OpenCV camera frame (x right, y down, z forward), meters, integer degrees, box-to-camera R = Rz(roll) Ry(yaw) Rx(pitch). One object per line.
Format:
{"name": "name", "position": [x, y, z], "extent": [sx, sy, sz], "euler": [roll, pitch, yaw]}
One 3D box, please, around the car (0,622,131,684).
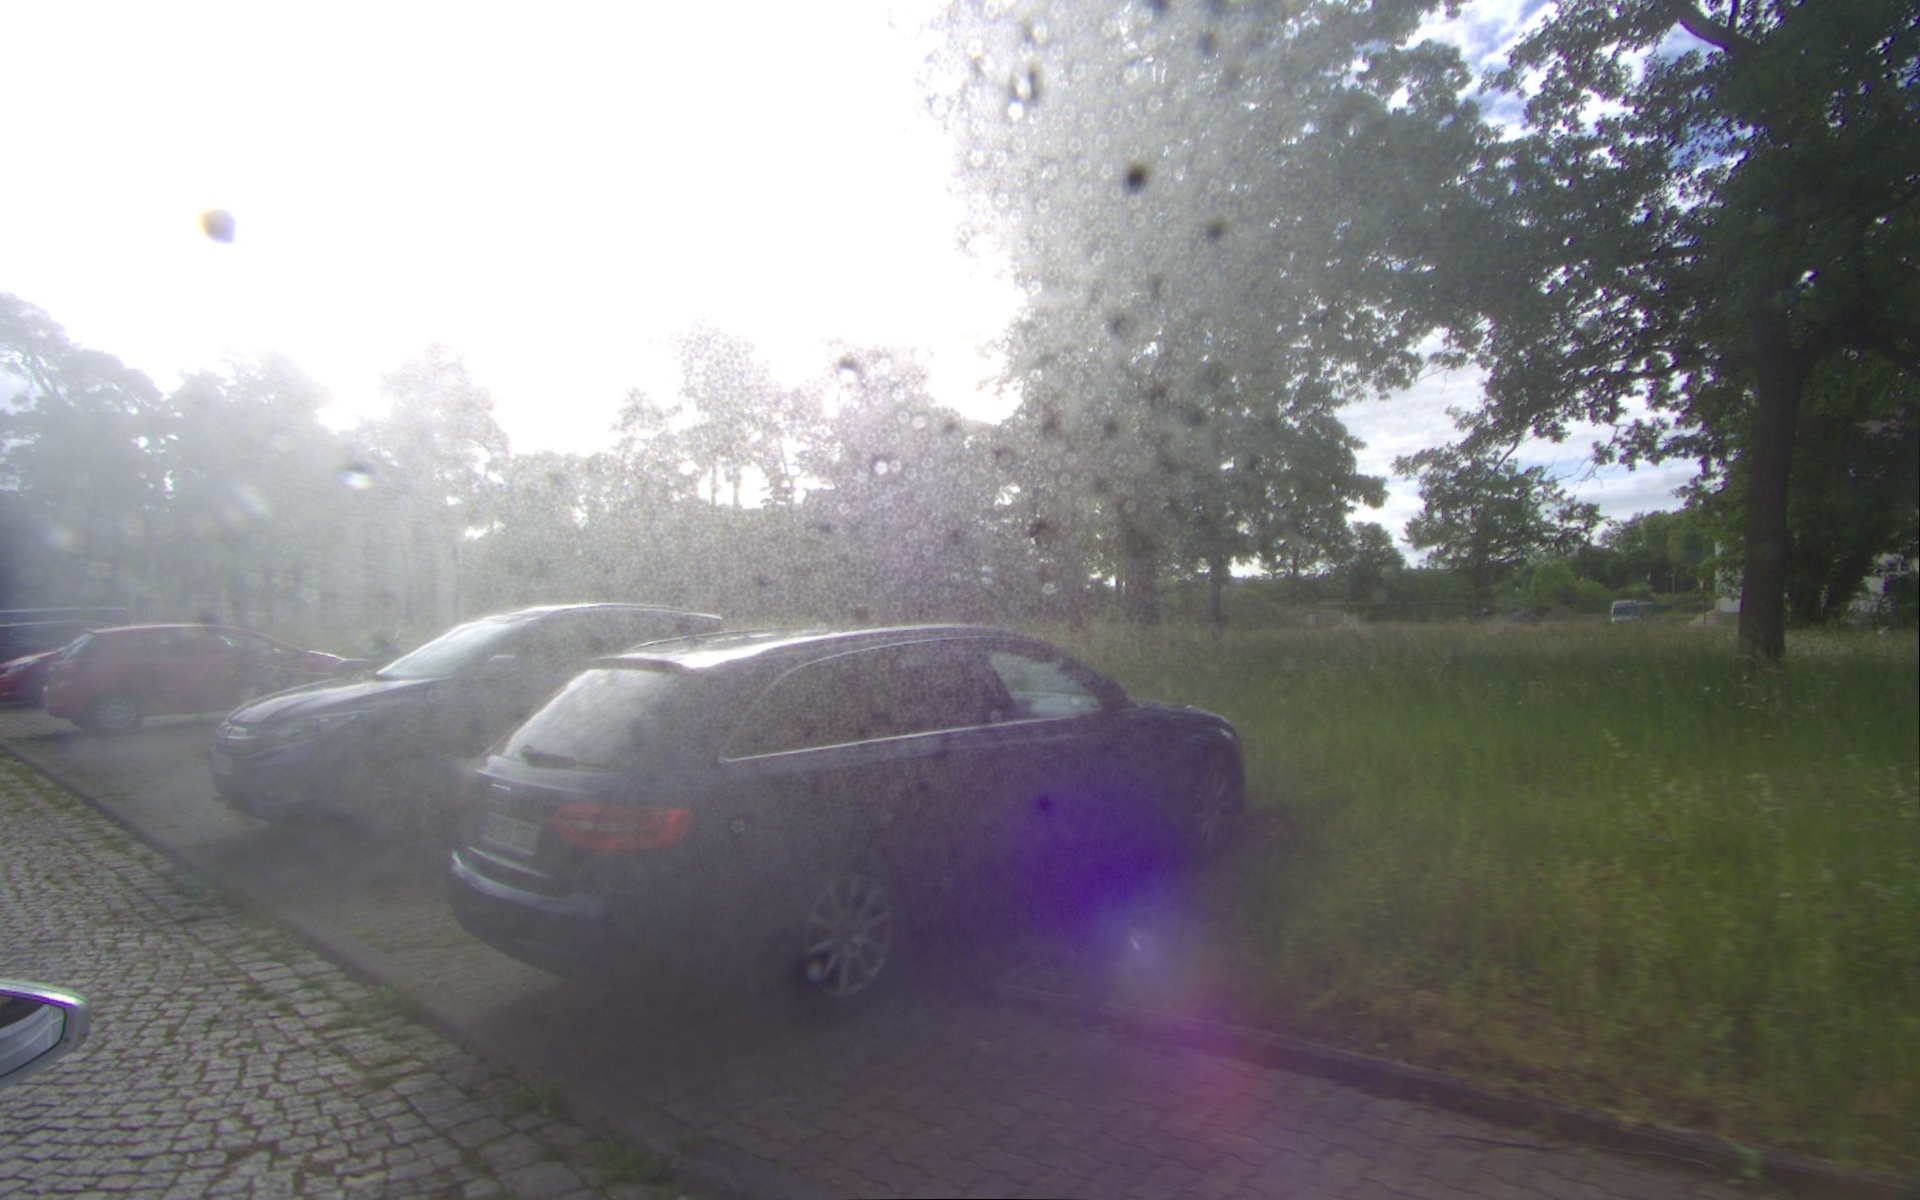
{"name": "car", "position": [-23.861, 1.357, 25.708], "extent": [1.634, 1.443, 3.707], "euler": [-1, 1, 38]}

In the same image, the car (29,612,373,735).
{"name": "car", "position": [-11.275, 0.991, 15.090], "extent": [1.717, 1.525, 3.822], "euler": [-1, 0, 39]}

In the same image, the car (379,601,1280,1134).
{"name": "car", "position": [-0.241, 0.803, 5.227], "extent": [1.875, 1.484, 4.477], "euler": [0, 1, 44]}

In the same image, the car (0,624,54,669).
{"name": "car", "position": [-33.993, 1.634, 34.861], "extent": [1.639, 1.524, 3.288], "euler": [-1, 0, 30]}

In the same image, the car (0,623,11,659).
{"name": "car", "position": [-43.244, 1.792, 43.034], "extent": [1.372, 1.564, 3.379], "euler": [0, 0, 35]}

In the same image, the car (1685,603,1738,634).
{"name": "car", "position": [51.900, 1.344, 69.229], "extent": [2.452, 2.039, 5.806], "euler": [-1, -2, 33]}

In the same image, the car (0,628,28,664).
{"name": "car", "position": [-36.180, 1.697, 36.289], "extent": [1.642, 1.284, 3.283], "euler": [-1, 0, 35]}

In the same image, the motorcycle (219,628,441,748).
{"name": "motorcycle", "position": [-7.722, 1.024, 12.401], "extent": [0.598, 1.292, 2.257], "euler": [-1, 0, 35]}

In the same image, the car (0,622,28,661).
{"name": "car", "position": [-39.436, 1.661, 39.282], "extent": [1.642, 1.564, 3.975], "euler": [-1, 0, 35]}

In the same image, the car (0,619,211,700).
{"name": "car", "position": [-18.850, 1.215, 21.690], "extent": [1.741, 1.601, 3.934], "euler": [-1, -1, 39]}

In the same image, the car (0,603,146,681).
{"name": "car", "position": [-25.593, 1.116, 27.503], "extent": [1.717, 2.066, 4.763], "euler": [0, 0, 38]}

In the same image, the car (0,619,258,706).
{"name": "car", "position": [-16.772, 1.164, 20.211], "extent": [1.718, 1.538, 3.968], "euler": [-1, -1, 40]}

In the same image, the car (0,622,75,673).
{"name": "car", "position": [-29.613, 1.455, 30.870], "extent": [1.644, 1.524, 3.279], "euler": [-1, 0, 38]}

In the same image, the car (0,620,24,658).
{"name": "car", "position": [-41.478, 1.650, 41.190], "extent": [1.642, 1.564, 4.111], "euler": [-1, 0, 35]}

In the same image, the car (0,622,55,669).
{"name": "car", "position": [-32.075, 1.488, 32.583], "extent": [1.639, 1.526, 3.593], "euler": [-1, 0, 30]}

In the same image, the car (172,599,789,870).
{"name": "car", "position": [-3.681, 0.829, 8.356], "extent": [1.873, 1.594, 4.242], "euler": [0, 1, 40]}
